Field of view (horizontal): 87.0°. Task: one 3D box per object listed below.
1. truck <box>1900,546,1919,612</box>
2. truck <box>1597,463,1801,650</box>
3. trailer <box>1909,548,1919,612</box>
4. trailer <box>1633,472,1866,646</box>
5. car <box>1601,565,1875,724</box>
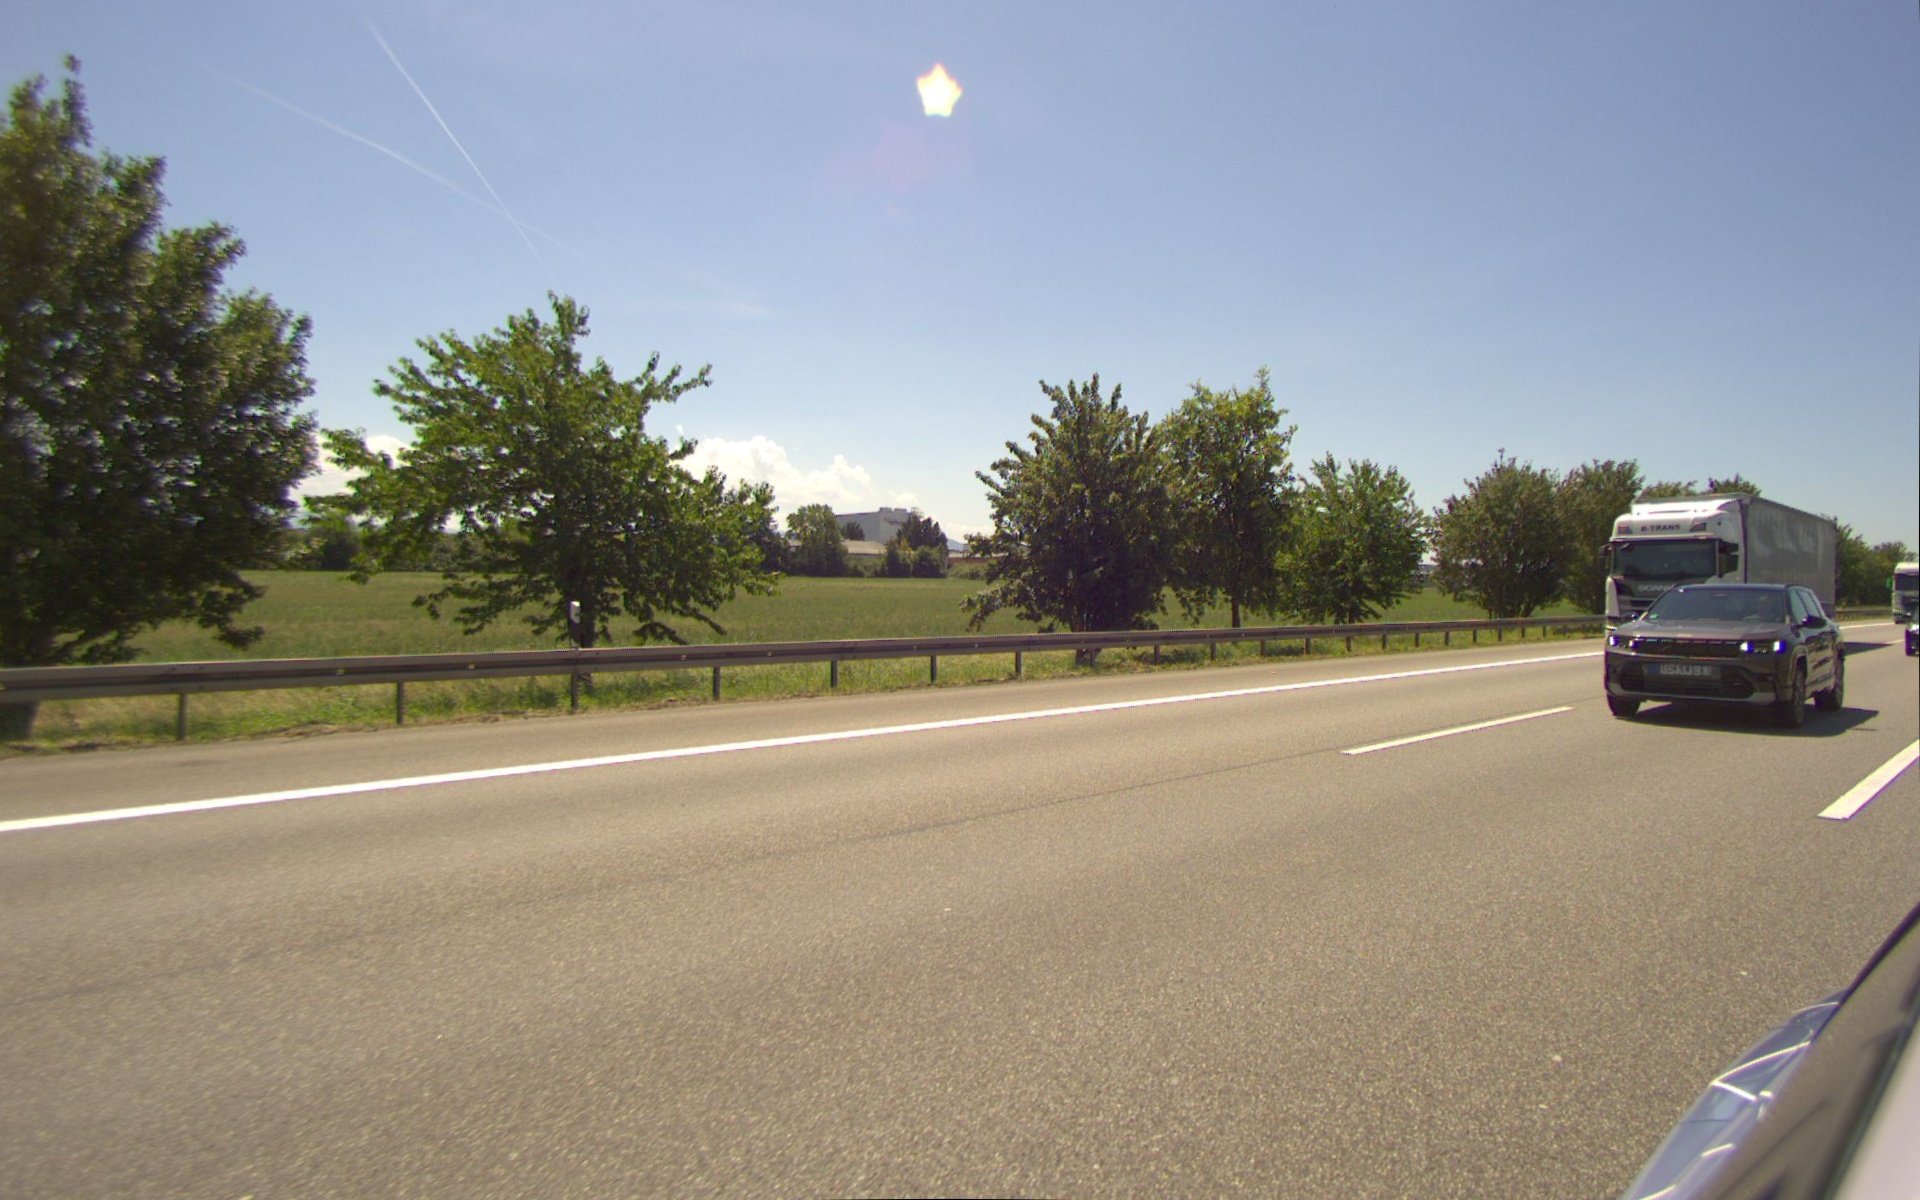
[{"bbox_3d":[61.631,-1.278,63.575,7.563,4.016,2.699,0,0,-38],"label":"truck"},{"bbox_3d":[19.846,-1.048,27.018,7.066,4.359,2.815,0,0,-40],"label":"truck"},{"bbox_3d":[66.219,-1.287,67.222,13.706,4.016,2.699,0,0,-38],"label":"trailer"},{"bbox_3d":[24.598,-1.089,31.022,14.002,4.359,2.815,0,0,-40],"label":"trailer"},{"bbox_3d":[10.145,0.457,13.057,4.662,1.696,1.871,0,0,-40],"label":"car"}]
